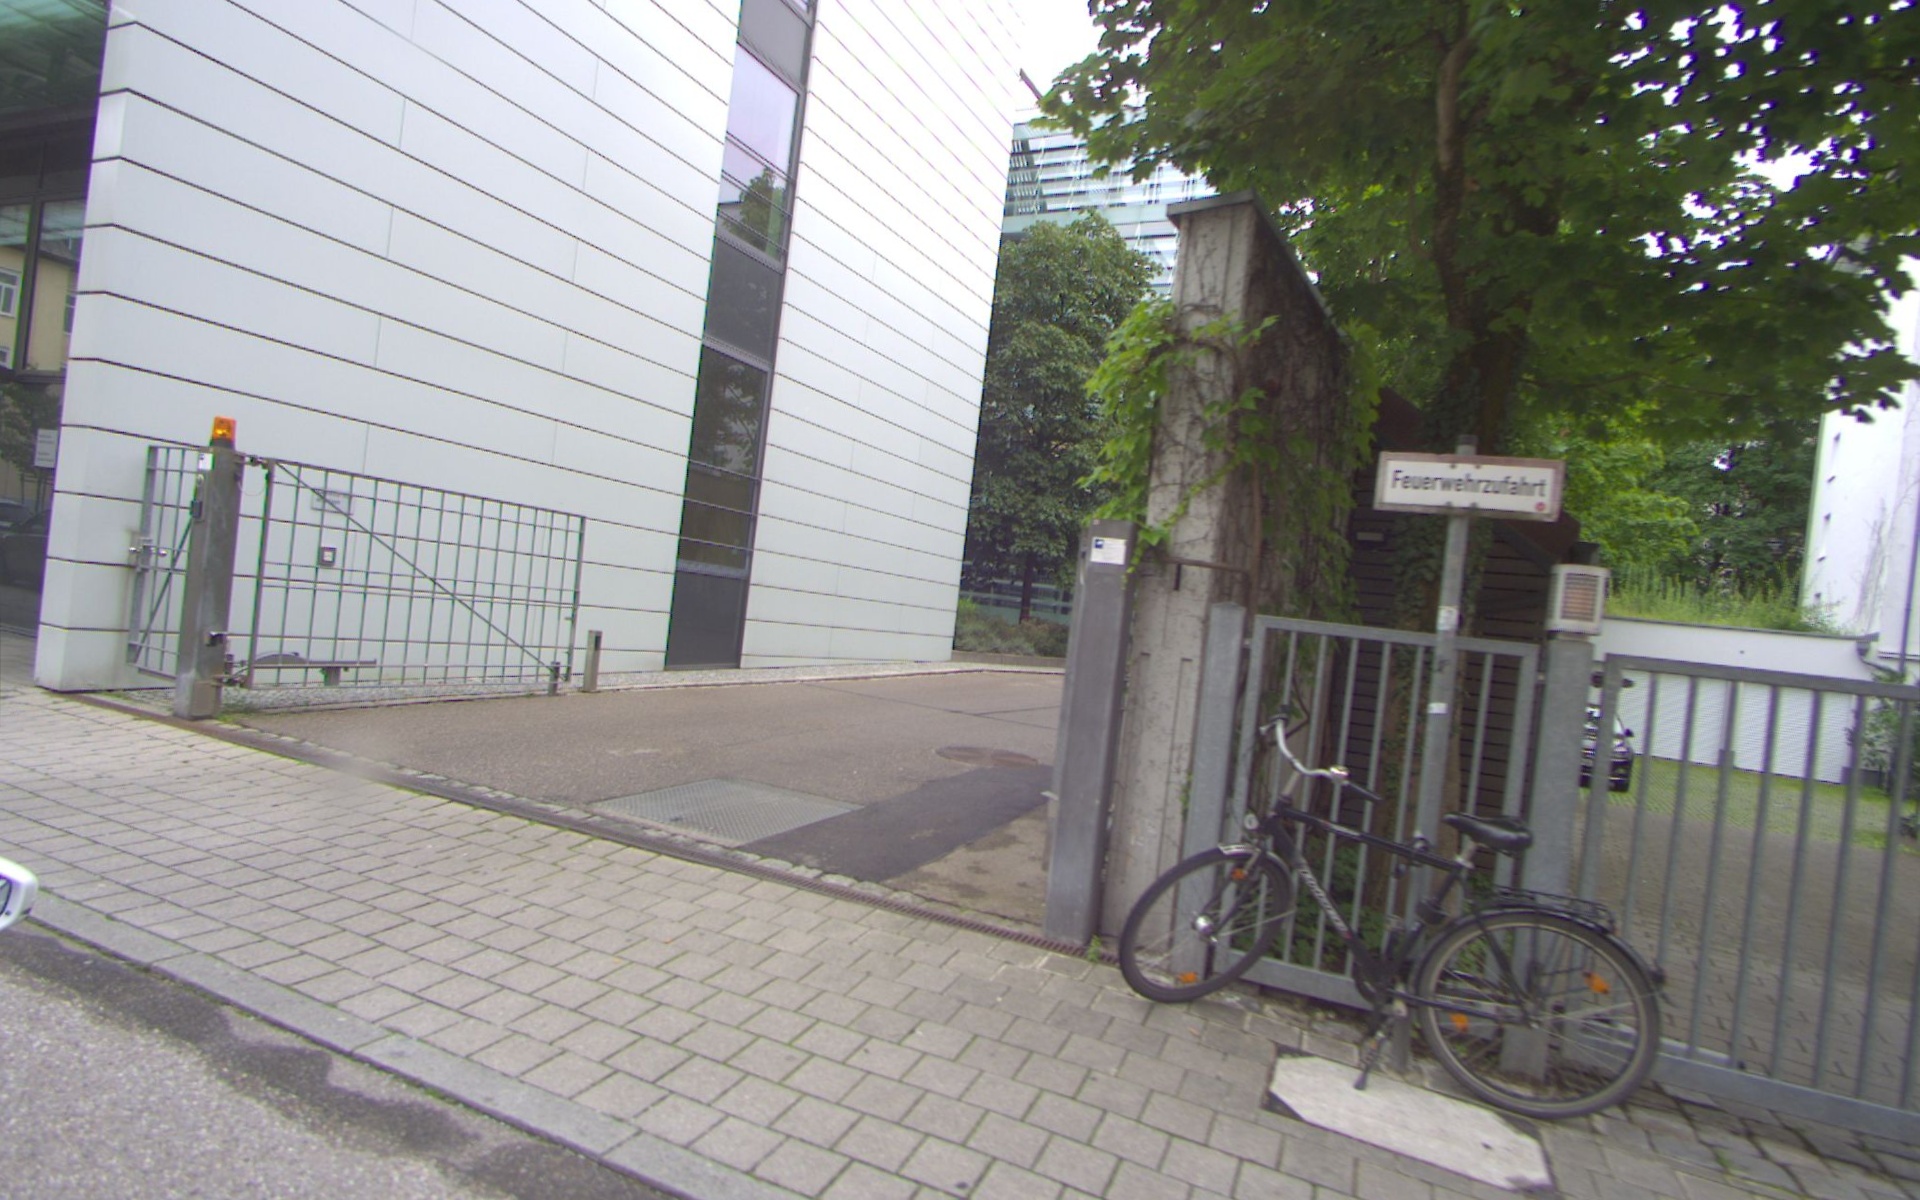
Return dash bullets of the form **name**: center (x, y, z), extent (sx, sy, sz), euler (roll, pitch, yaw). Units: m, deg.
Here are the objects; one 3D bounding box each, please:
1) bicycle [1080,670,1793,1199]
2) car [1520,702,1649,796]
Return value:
- **bicycle**: center (1.459, 1.006, 3.397), extent (1.800, 1.213, 0.709), euler (10, 2, 24)
- **car**: center (11.234, 2.589, 18.133), extent (1.669, 1.249, 3.992), euler (7, -1, 32)
